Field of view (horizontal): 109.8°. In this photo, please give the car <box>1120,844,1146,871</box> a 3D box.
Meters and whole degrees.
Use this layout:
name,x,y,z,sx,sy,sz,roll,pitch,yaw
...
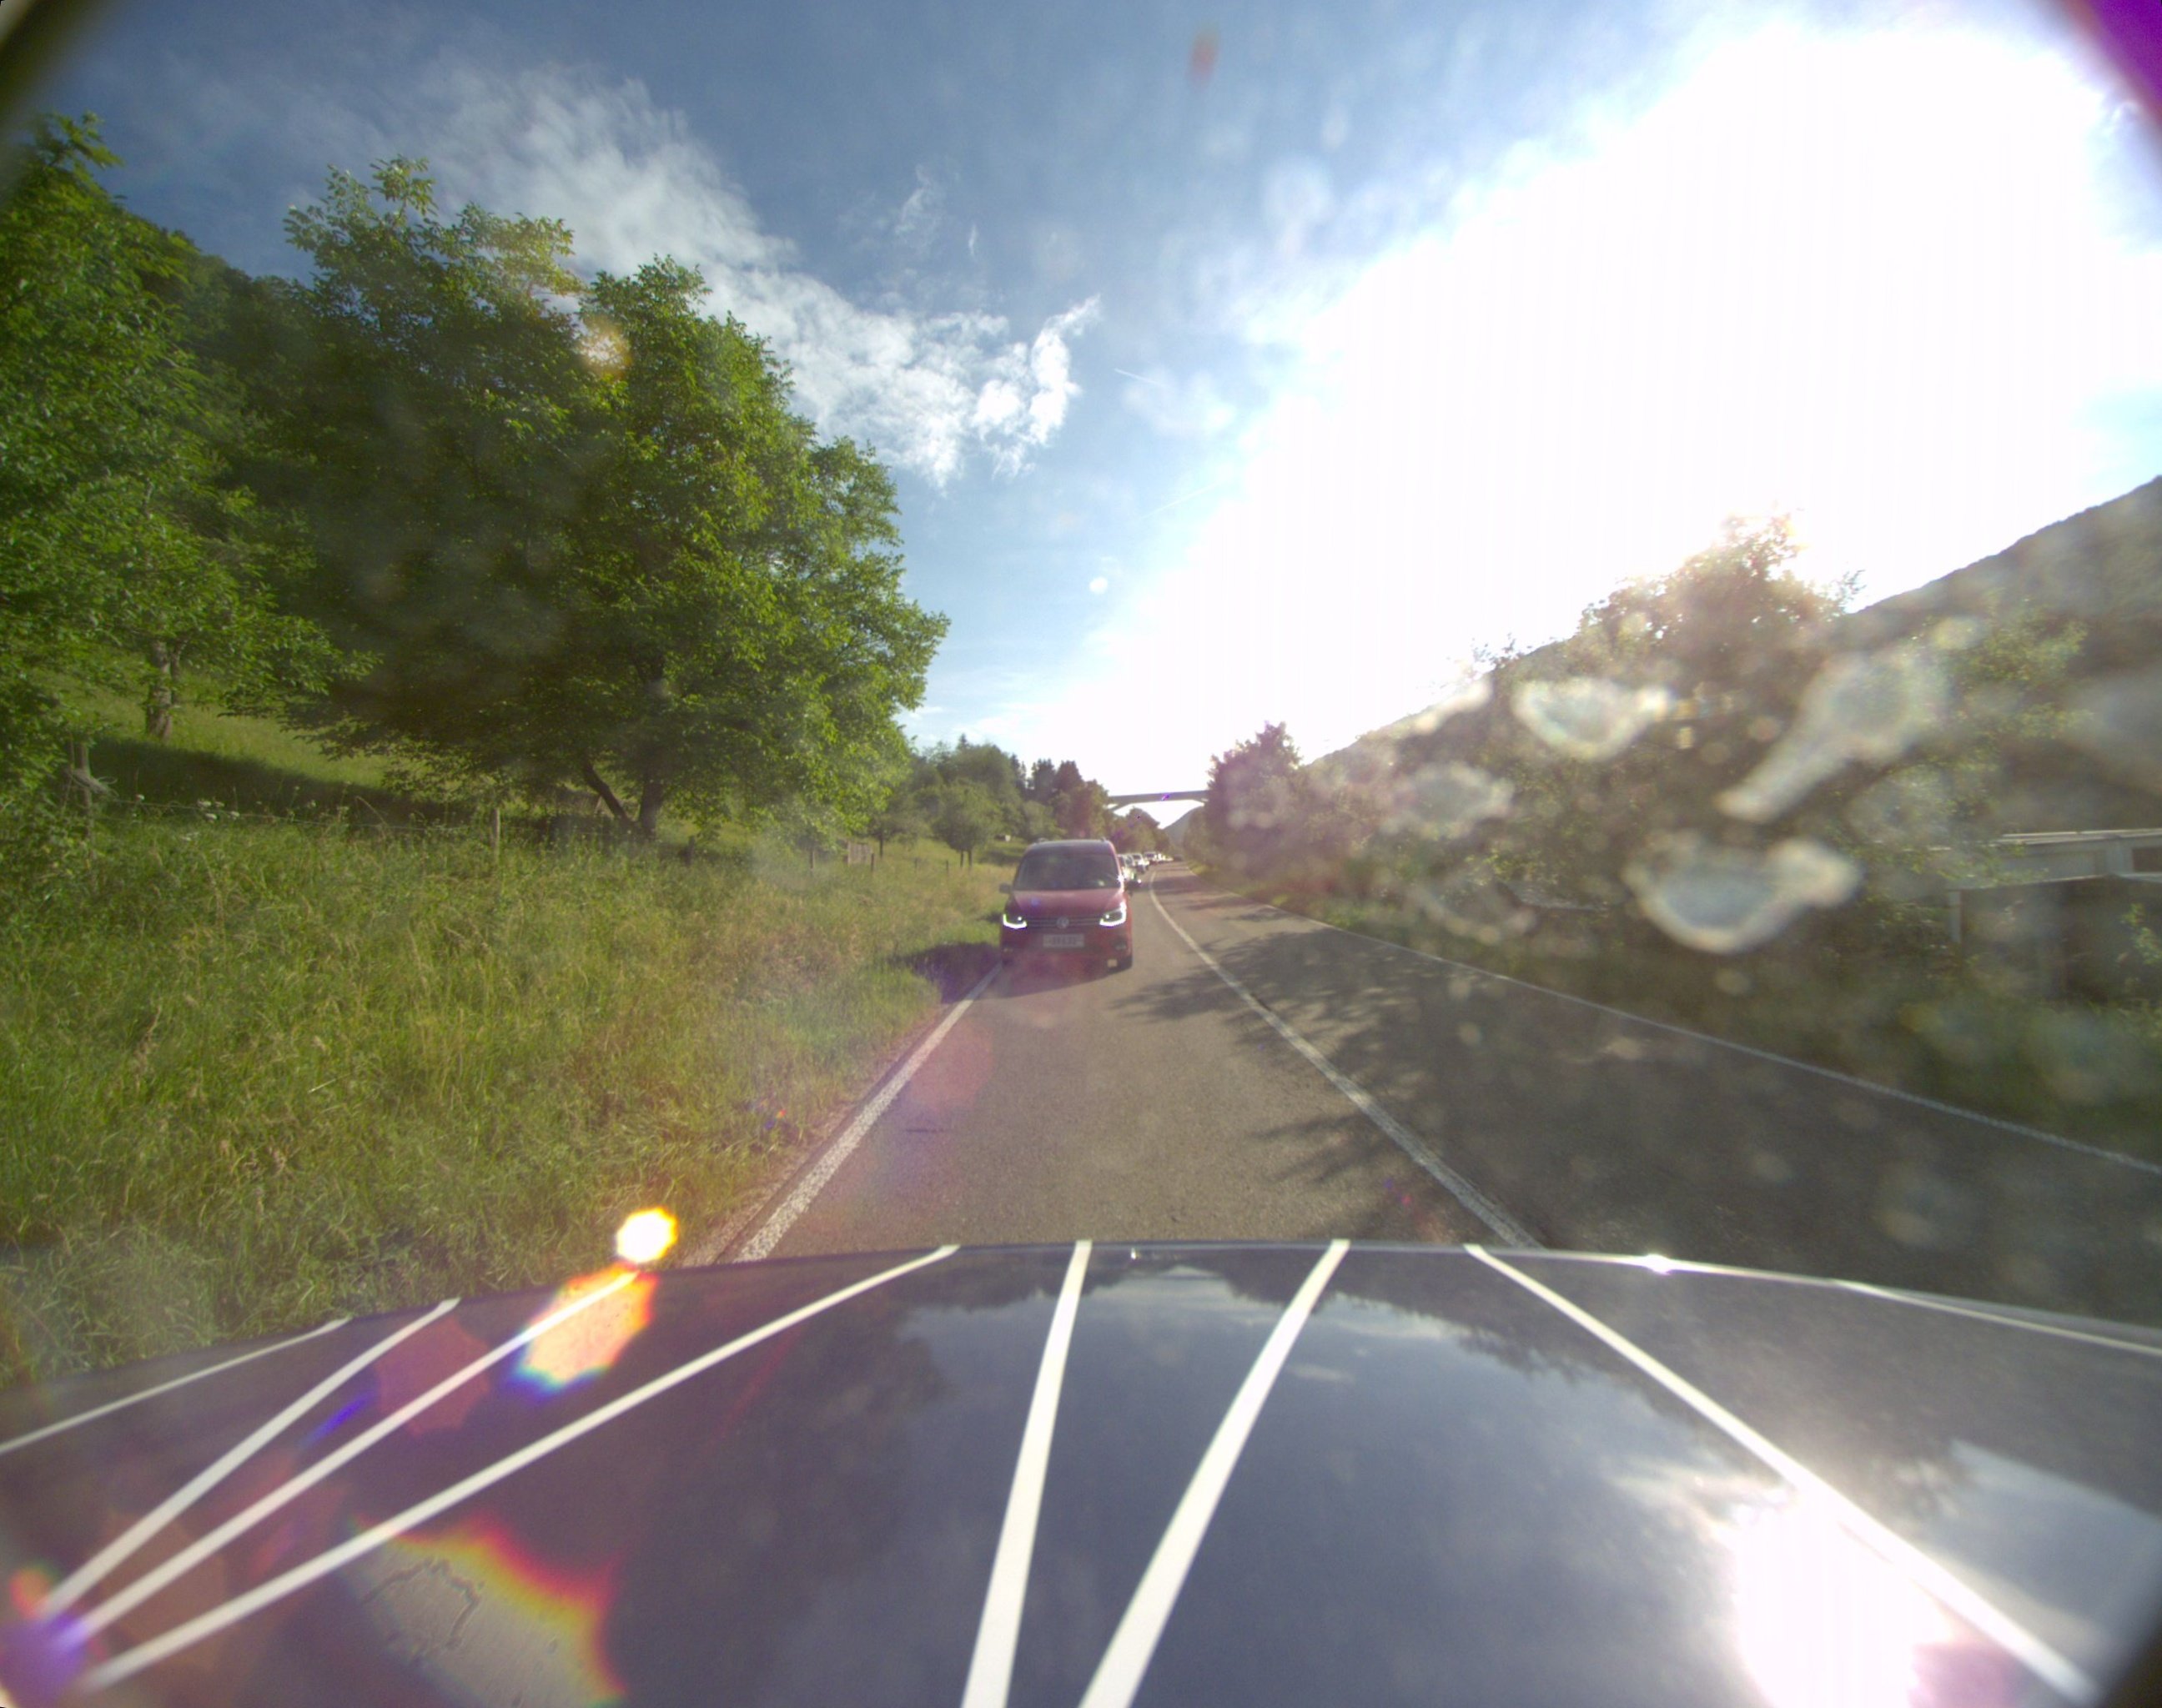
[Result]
name,x,y,z,sx,sy,sz,roll,pitch,yaw
car,4.135,0.272,59.625,1.914,2.002,4.001,-1,0,5

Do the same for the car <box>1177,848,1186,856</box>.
name,x,y,z,sx,sy,sz,roll,pitch,yaw
car,21.207,-0.391,160.691,1.818,1.608,3.807,-1,0,5

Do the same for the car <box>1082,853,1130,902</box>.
name,x,y,z,sx,sy,sz,roll,pitch,yaw
car,0.916,0.777,26.649,1.571,1.575,3.527,-1,0,3

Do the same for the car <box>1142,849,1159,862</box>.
name,x,y,z,sx,sy,sz,roll,pitch,yaw
car,9.064,0.182,98.737,1.817,1.608,4.003,-1,0,9

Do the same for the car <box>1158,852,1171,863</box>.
name,x,y,z,sx,sy,sz,roll,pitch,yaw
car,12.405,0.482,112.249,1.817,1.608,4.002,-1,0,7

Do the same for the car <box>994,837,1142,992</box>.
name,x,y,z,sx,sy,sz,roll,pitch,yaw
car,-0.150,0.738,11.351,1.772,1.855,3.875,-2,0,0

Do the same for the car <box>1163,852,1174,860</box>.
name,x,y,z,sx,sy,sz,roll,pitch,yaw
car,18.126,0.452,157.665,1.840,1.543,4.181,-1,0,12
